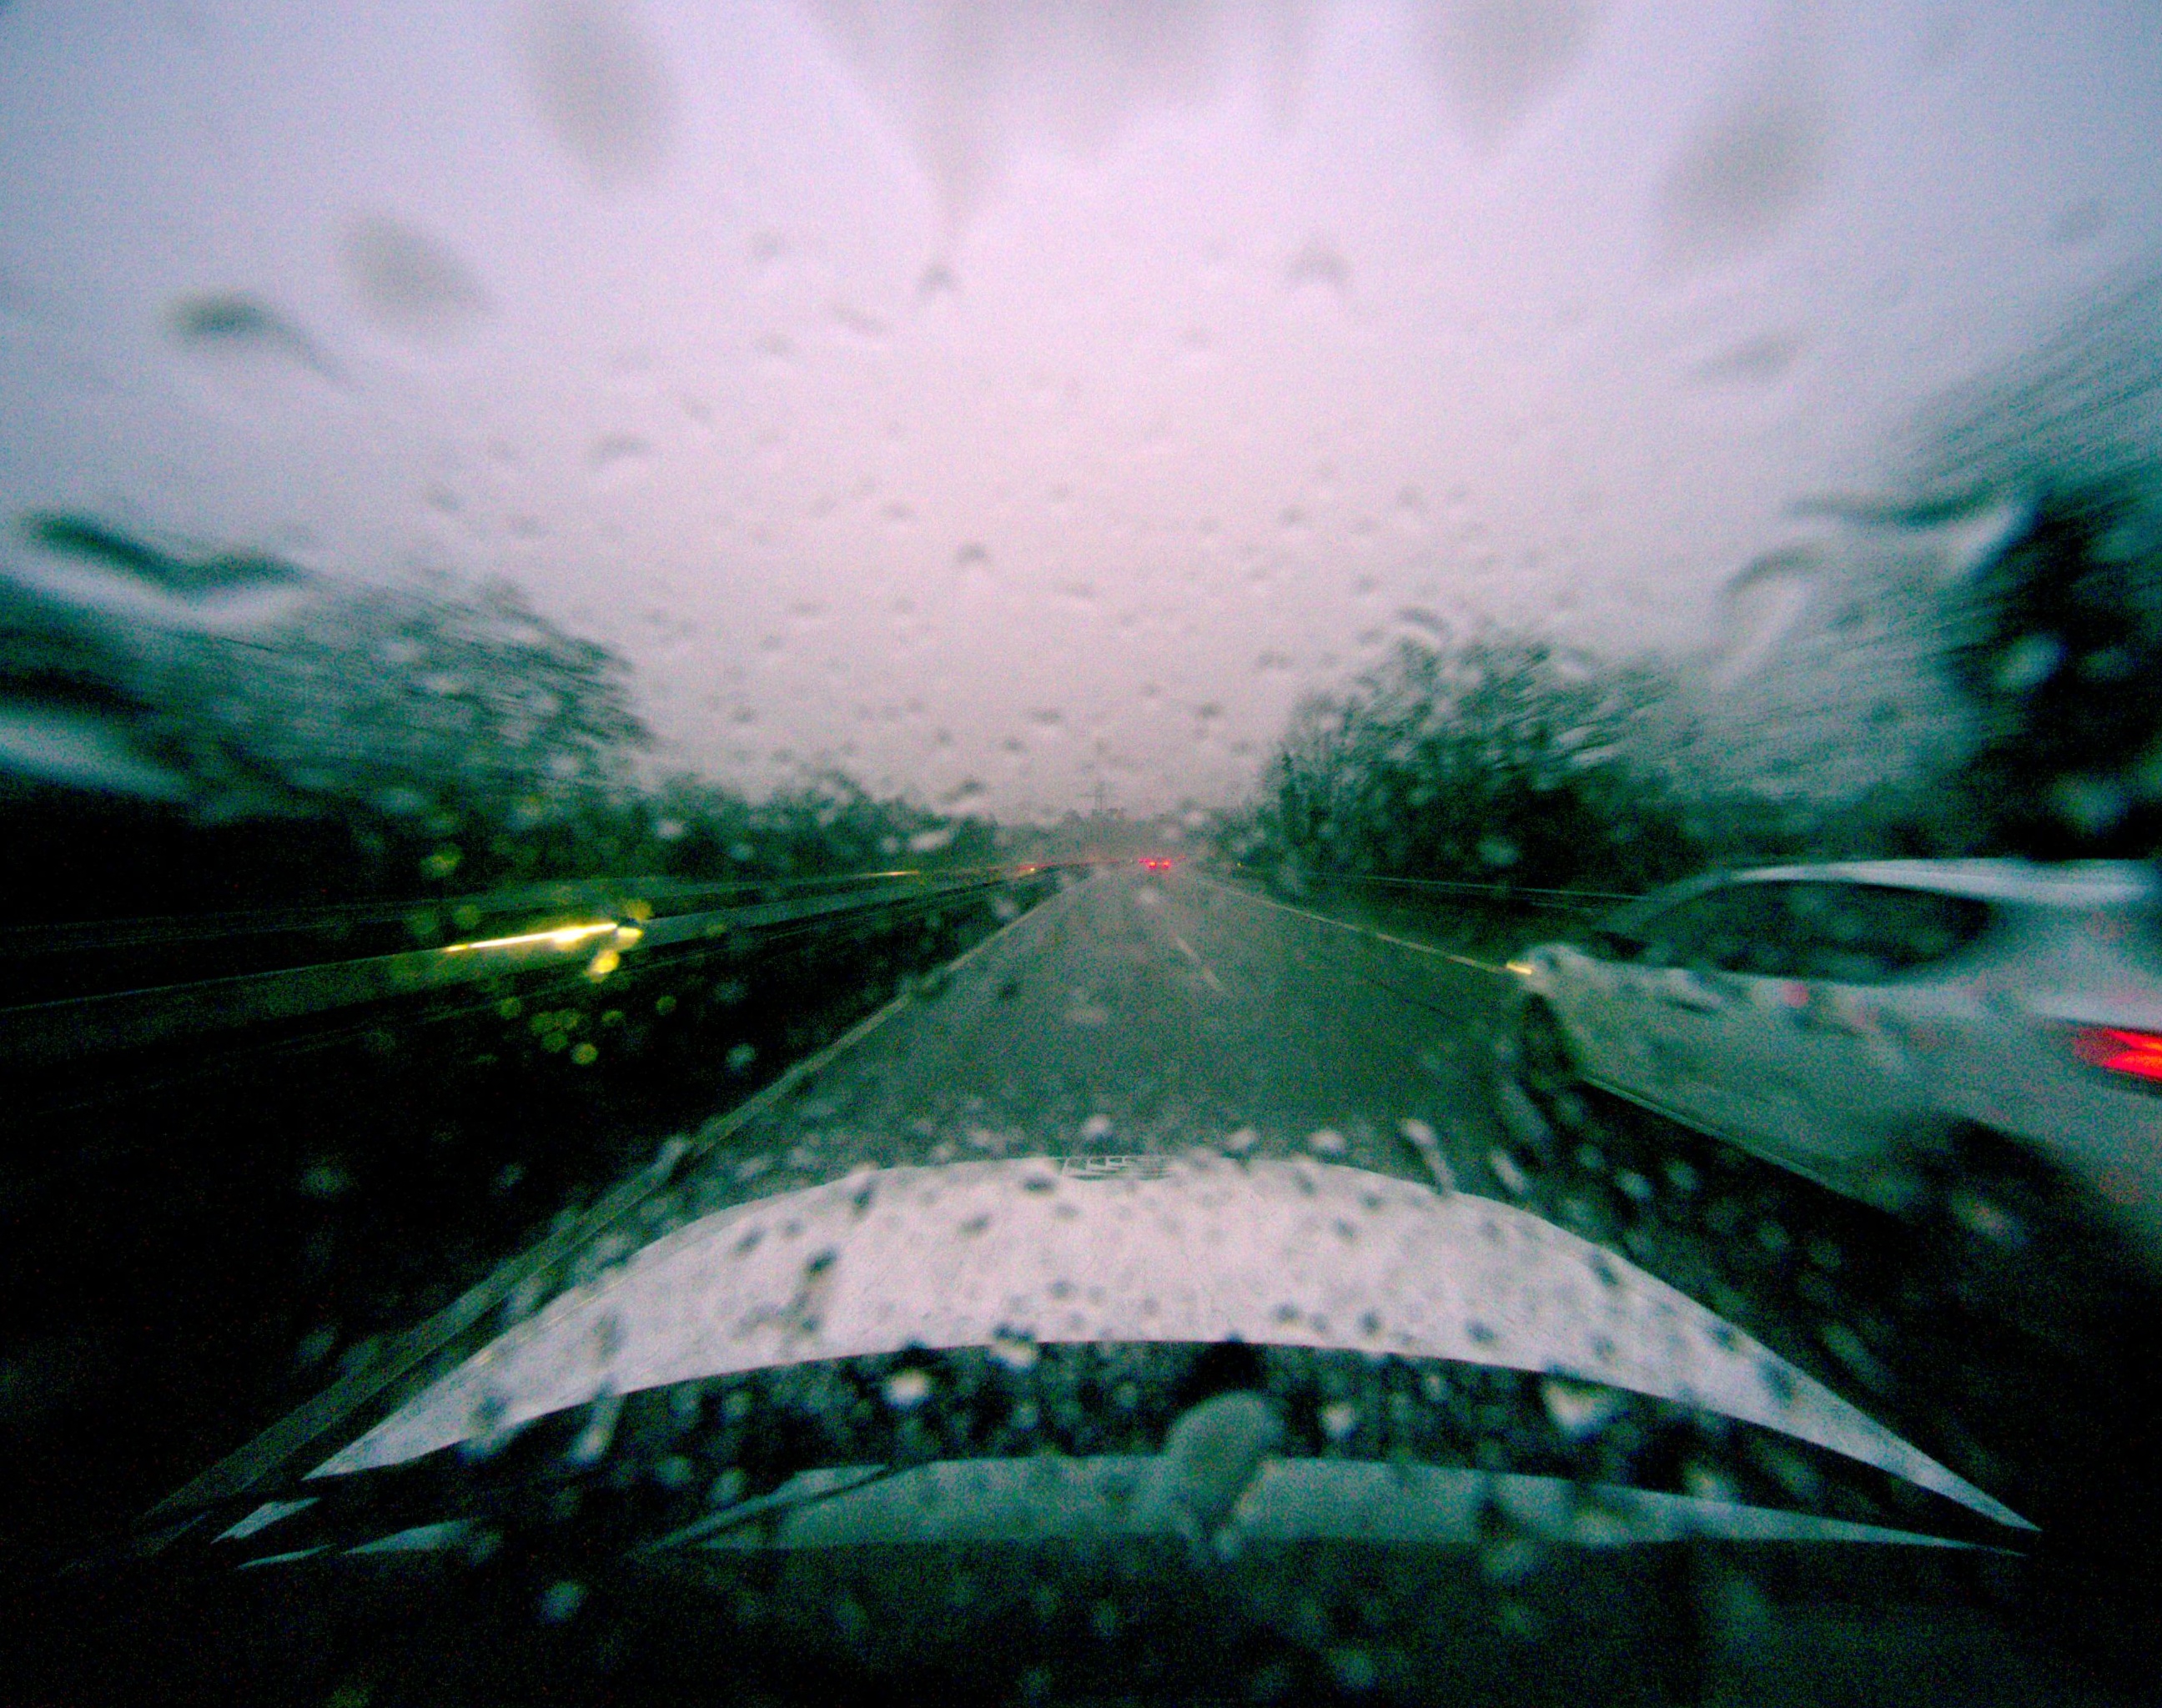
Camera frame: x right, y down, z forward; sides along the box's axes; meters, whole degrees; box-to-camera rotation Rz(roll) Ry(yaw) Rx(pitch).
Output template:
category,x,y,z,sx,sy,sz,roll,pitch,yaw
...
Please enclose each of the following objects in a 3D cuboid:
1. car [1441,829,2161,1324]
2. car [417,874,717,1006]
category,x,y,z,sx,sy,sz,roll,pitch,yaw
car,3.768,0.673,4.540,1.791,1.503,4.001,-2,0,1
car,-7.190,1.092,11.984,1.602,1.474,4.179,-1,0,2
